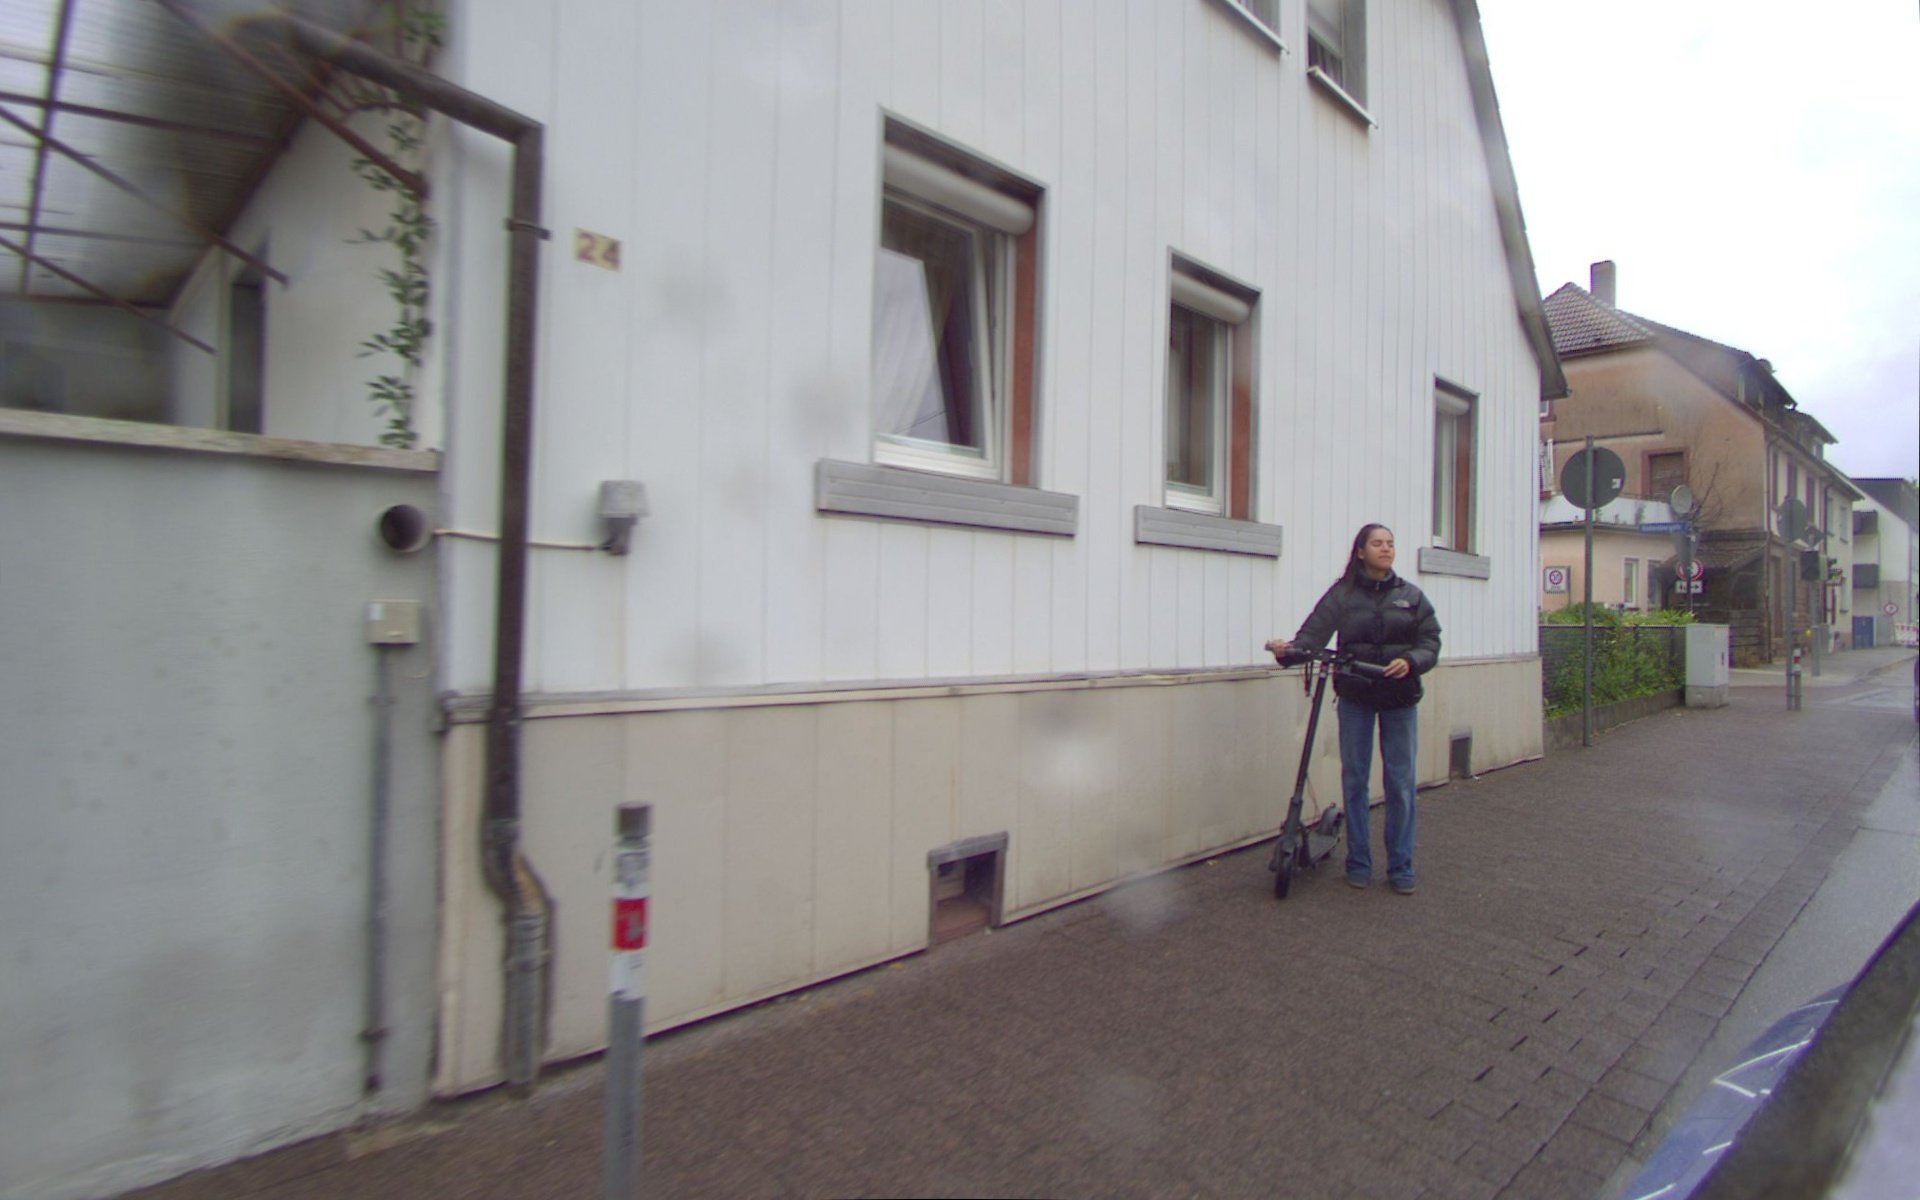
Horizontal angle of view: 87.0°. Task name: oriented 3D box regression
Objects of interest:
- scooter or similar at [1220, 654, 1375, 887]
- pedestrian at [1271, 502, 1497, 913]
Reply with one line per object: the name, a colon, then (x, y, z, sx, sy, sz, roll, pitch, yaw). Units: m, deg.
scooter or similar: (1.742, 0.818, 5.164, 1.082, 1.041, 0.245, 1, 1, -44)
pedestrian: (2.032, 0.450, 4.847, 0.807, 1.754, 0.695, 1, 1, -43)
